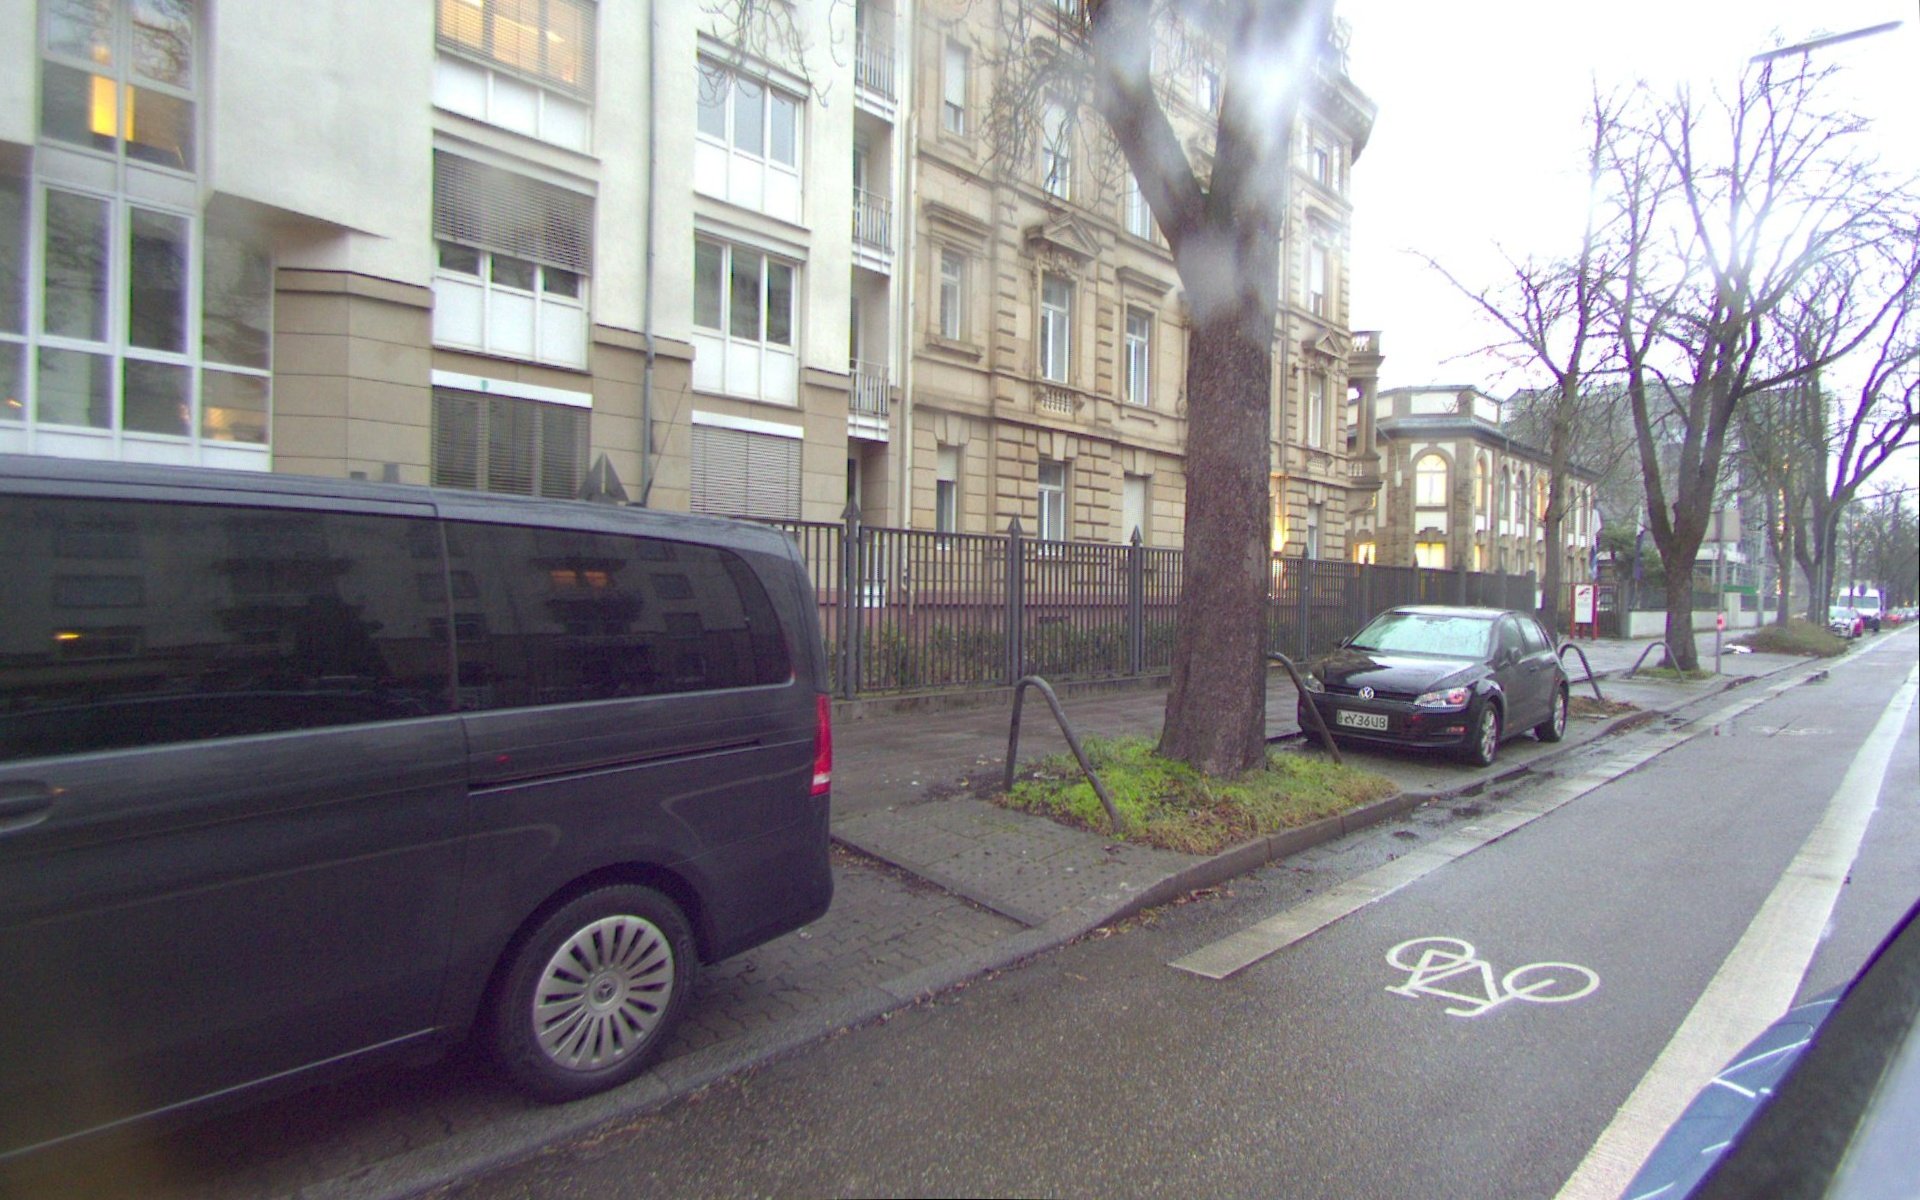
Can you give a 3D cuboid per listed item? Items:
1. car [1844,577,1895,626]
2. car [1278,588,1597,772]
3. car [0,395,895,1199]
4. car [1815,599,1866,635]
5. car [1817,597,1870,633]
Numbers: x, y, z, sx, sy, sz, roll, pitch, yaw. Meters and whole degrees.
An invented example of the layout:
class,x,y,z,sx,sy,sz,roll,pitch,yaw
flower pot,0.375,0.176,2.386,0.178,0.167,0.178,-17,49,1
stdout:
class,x,y,z,sx,sy,sz,roll,pitch,yaw
car,52.096,0.066,58.001,2.086,2.670,5.367,0,1,42
car,5.133,0.687,10.598,1.758,1.463,4.091,4,2,44
car,-2.697,0.497,2.781,4.882,1.899,2.032,0,2,-45
car,38.352,0.704,44.054,1.623,1.425,3.939,0,1,42
car,44.892,0.719,51.409,1.992,1.703,3.939,0,1,42
